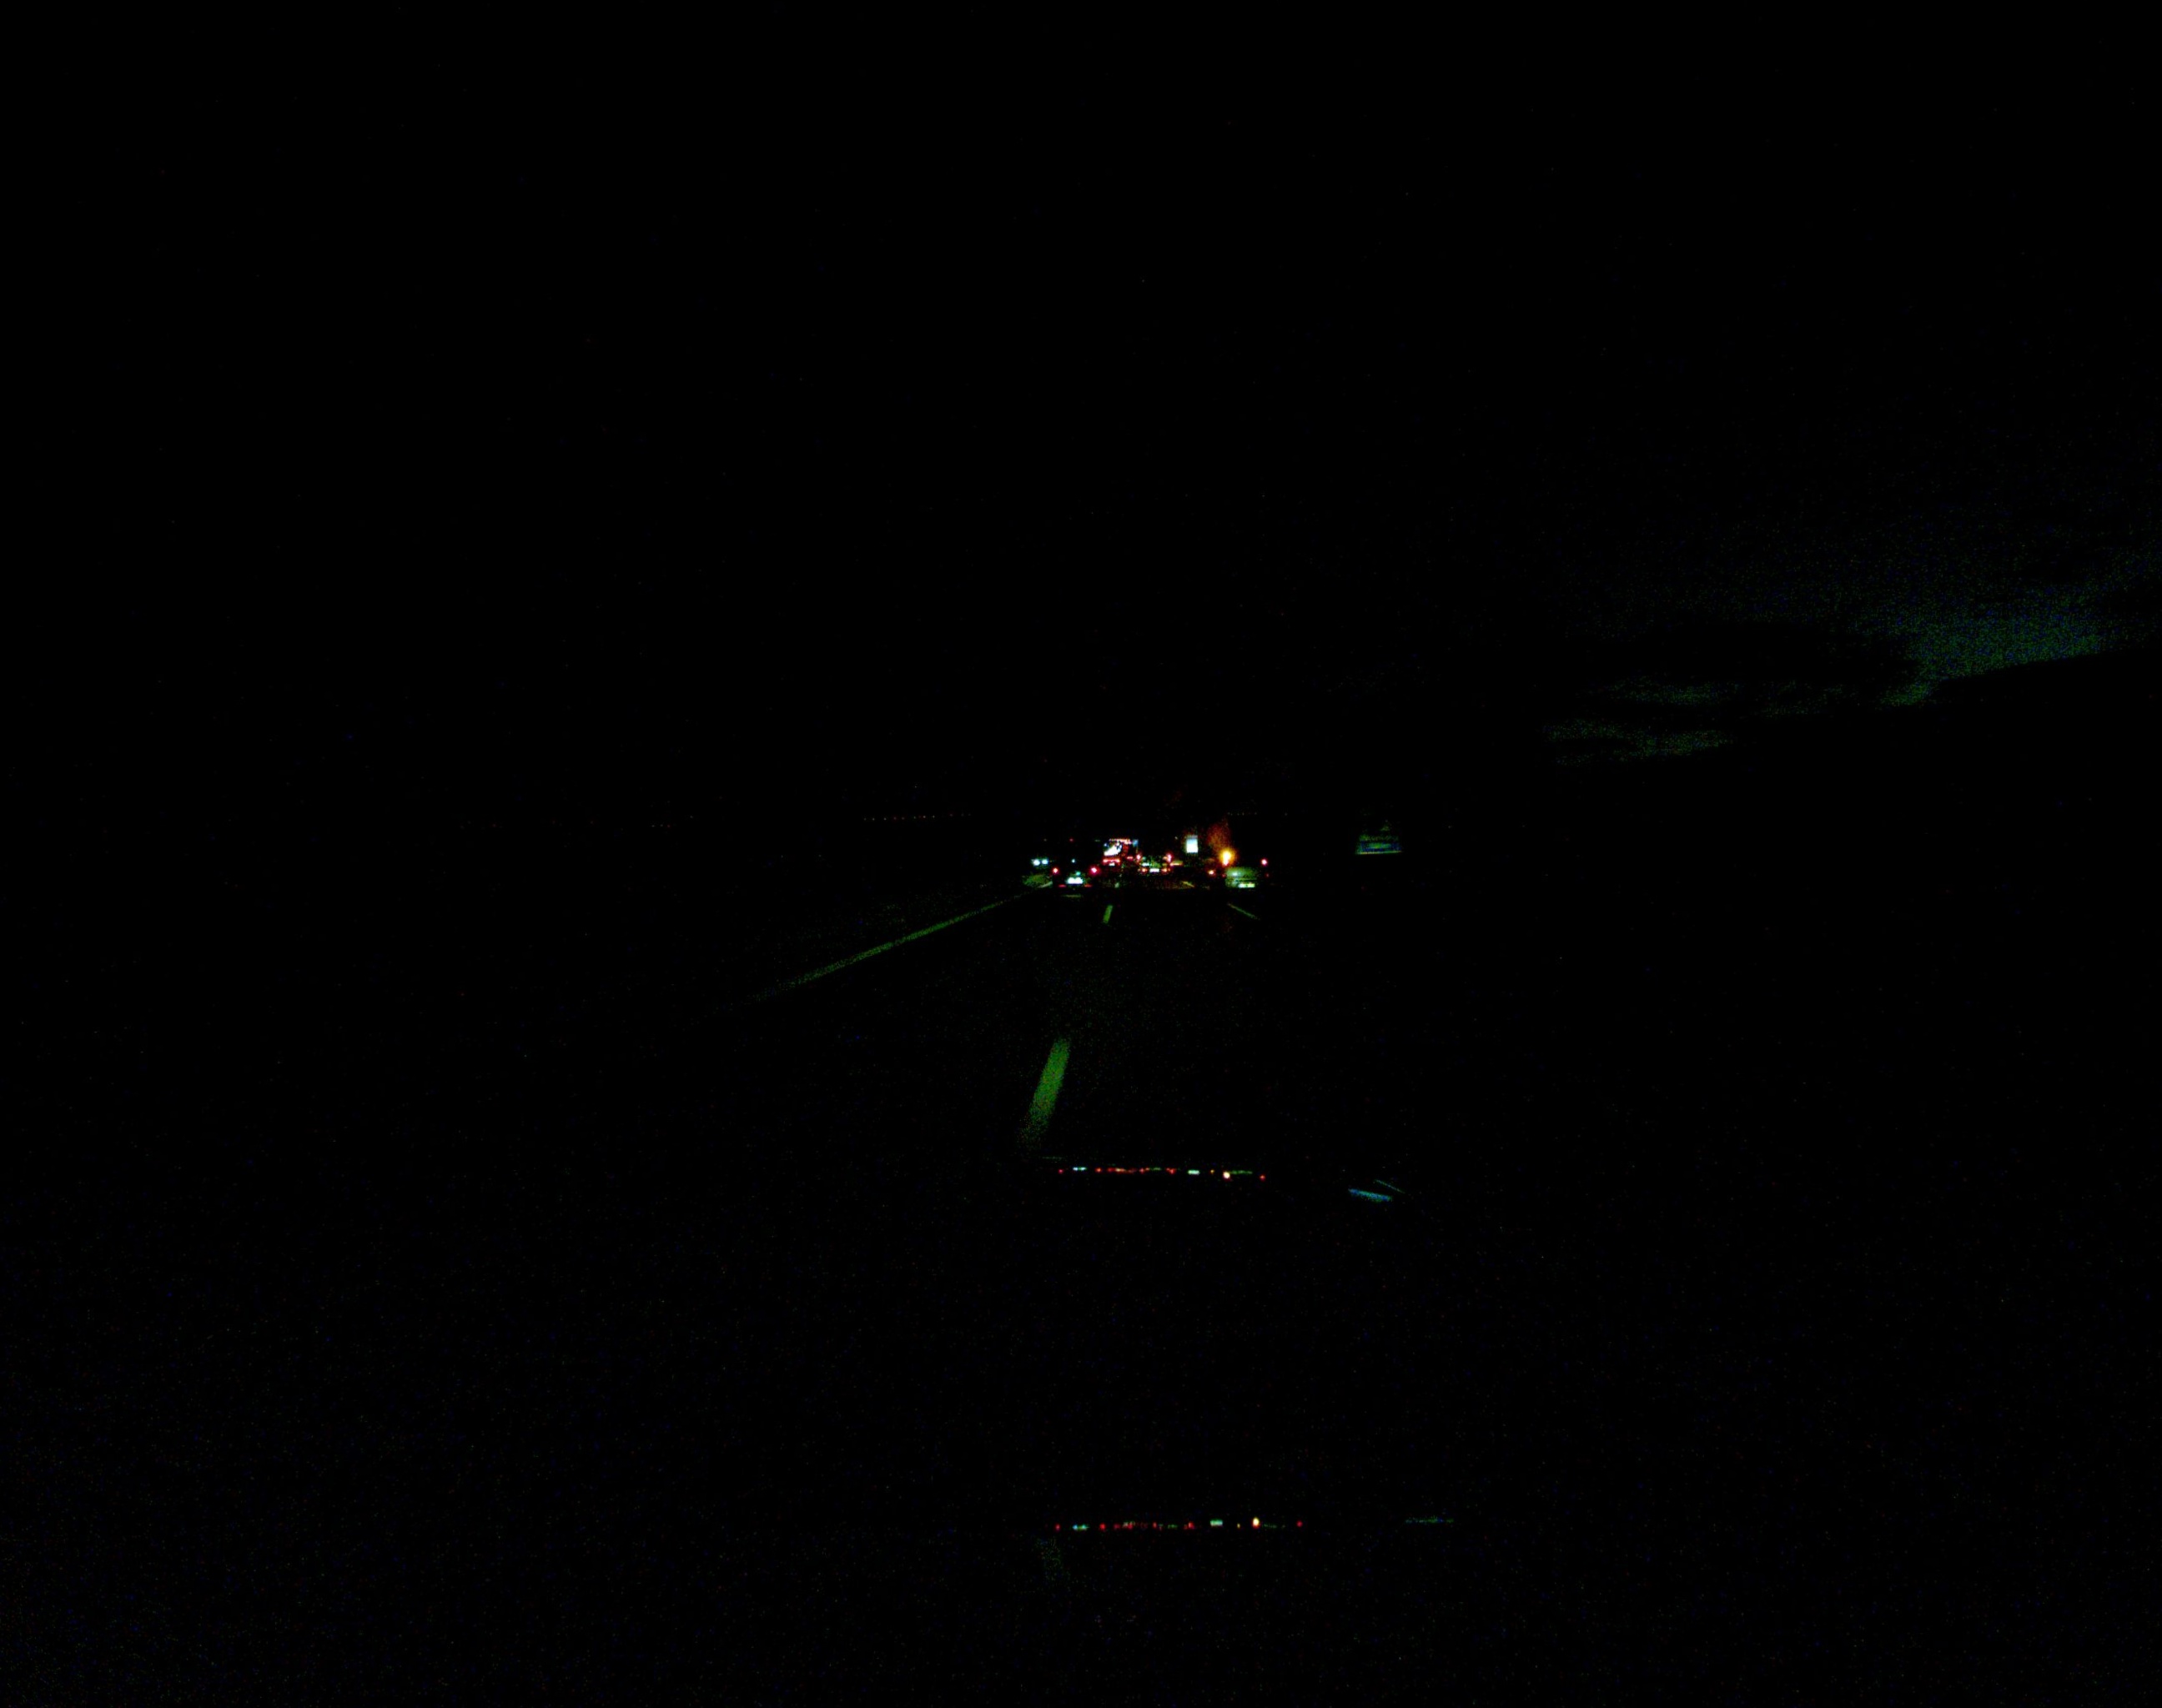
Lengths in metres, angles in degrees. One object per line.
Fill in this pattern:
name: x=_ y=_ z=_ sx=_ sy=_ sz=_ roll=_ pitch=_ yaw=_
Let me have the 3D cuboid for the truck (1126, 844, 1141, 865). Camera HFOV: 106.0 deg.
truck: x=10.435 y=0.089 z=162.335 sx=2.770 sy=3.955 sz=7.996 roll=-2 pitch=0 yaw=2

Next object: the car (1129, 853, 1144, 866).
car: x=8.757 y=0.806 z=128.260 sx=2.341 sy=1.914 sz=4.727 roll=-2 pitch=0 yaw=3

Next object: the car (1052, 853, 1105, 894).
car: x=-0.044 y=0.719 z=31.780 sx=1.786 sy=1.469 sz=3.776 roll=-1 pitch=0 yaw=3

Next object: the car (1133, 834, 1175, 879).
car: x=4.462 y=0.124 z=50.495 sx=2.341 sy=2.535 sz=5.706 roll=-2 pitch=0 yaw=3

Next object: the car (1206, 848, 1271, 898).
car: x=5.491 y=0.629 z=28.866 sx=1.639 sy=1.596 sz=4.512 roll=-1 pitch=0 yaw=2

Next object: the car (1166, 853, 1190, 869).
car: x=9.882 y=0.656 z=83.391 sx=2.153 sy=1.563 sz=4.727 roll=-1 pitch=0 yaw=3

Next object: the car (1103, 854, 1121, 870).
car: x=3.225 y=0.794 z=83.769 sx=1.737 sy=1.440 sz=4.371 roll=-2 pitch=0 yaw=3

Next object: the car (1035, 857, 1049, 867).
car: x=-6.685 y=1.348 z=140.460 sx=1.895 sy=1.643 sz=5.303 roll=-2 pitch=0 yaw=3
